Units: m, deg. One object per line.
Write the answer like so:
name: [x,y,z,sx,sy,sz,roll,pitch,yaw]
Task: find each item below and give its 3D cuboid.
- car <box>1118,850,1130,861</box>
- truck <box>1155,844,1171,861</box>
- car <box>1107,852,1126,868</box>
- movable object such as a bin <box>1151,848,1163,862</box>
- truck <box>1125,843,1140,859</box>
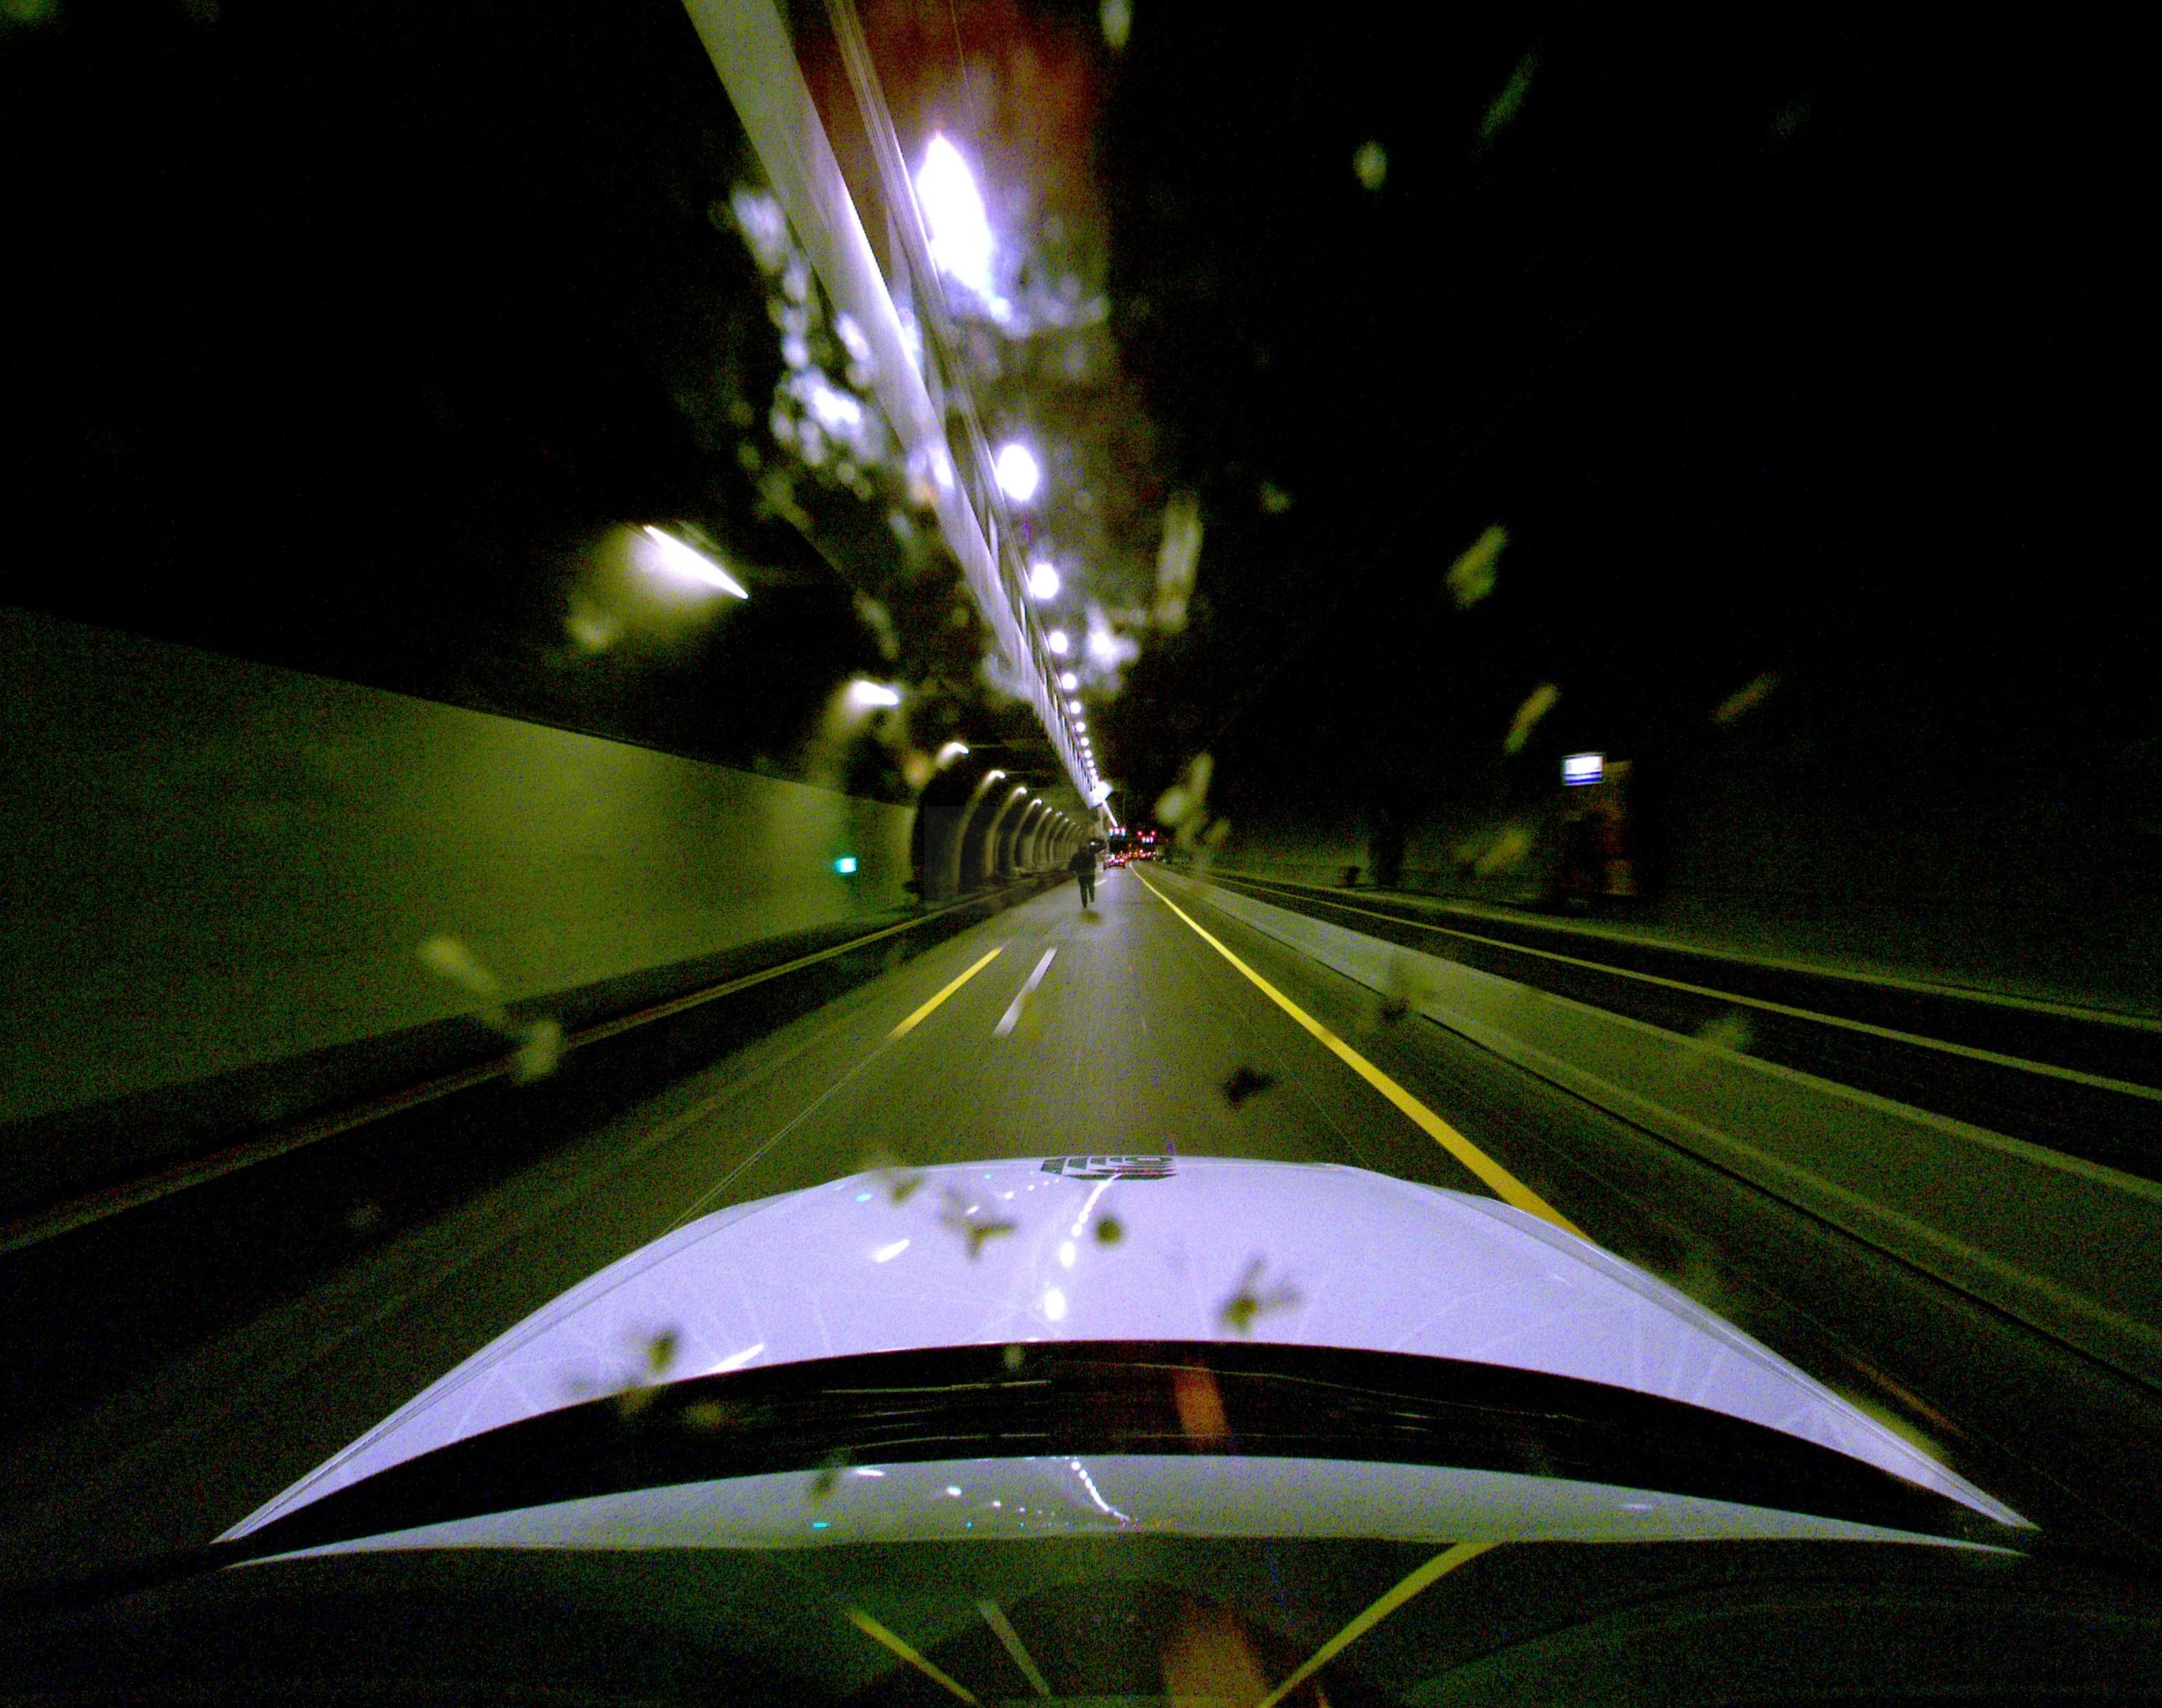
car: [8.046,0.291,152.192,1.986,2.013,4.001,-1,0,1]
truck: [16.373,-0.250,163.768,2.880,3.272,8.409,-1,0,4]
car: [3.820,0.634,87.389,1.881,1.607,4.000,-1,0,1]
movable object such as a bin: [16.127,0.251,172.336,2.228,2.794,7.240,-1,0,4]
truck: [15.982,-0.918,252.453,4.527,4.987,9.607,-1,0,3]
